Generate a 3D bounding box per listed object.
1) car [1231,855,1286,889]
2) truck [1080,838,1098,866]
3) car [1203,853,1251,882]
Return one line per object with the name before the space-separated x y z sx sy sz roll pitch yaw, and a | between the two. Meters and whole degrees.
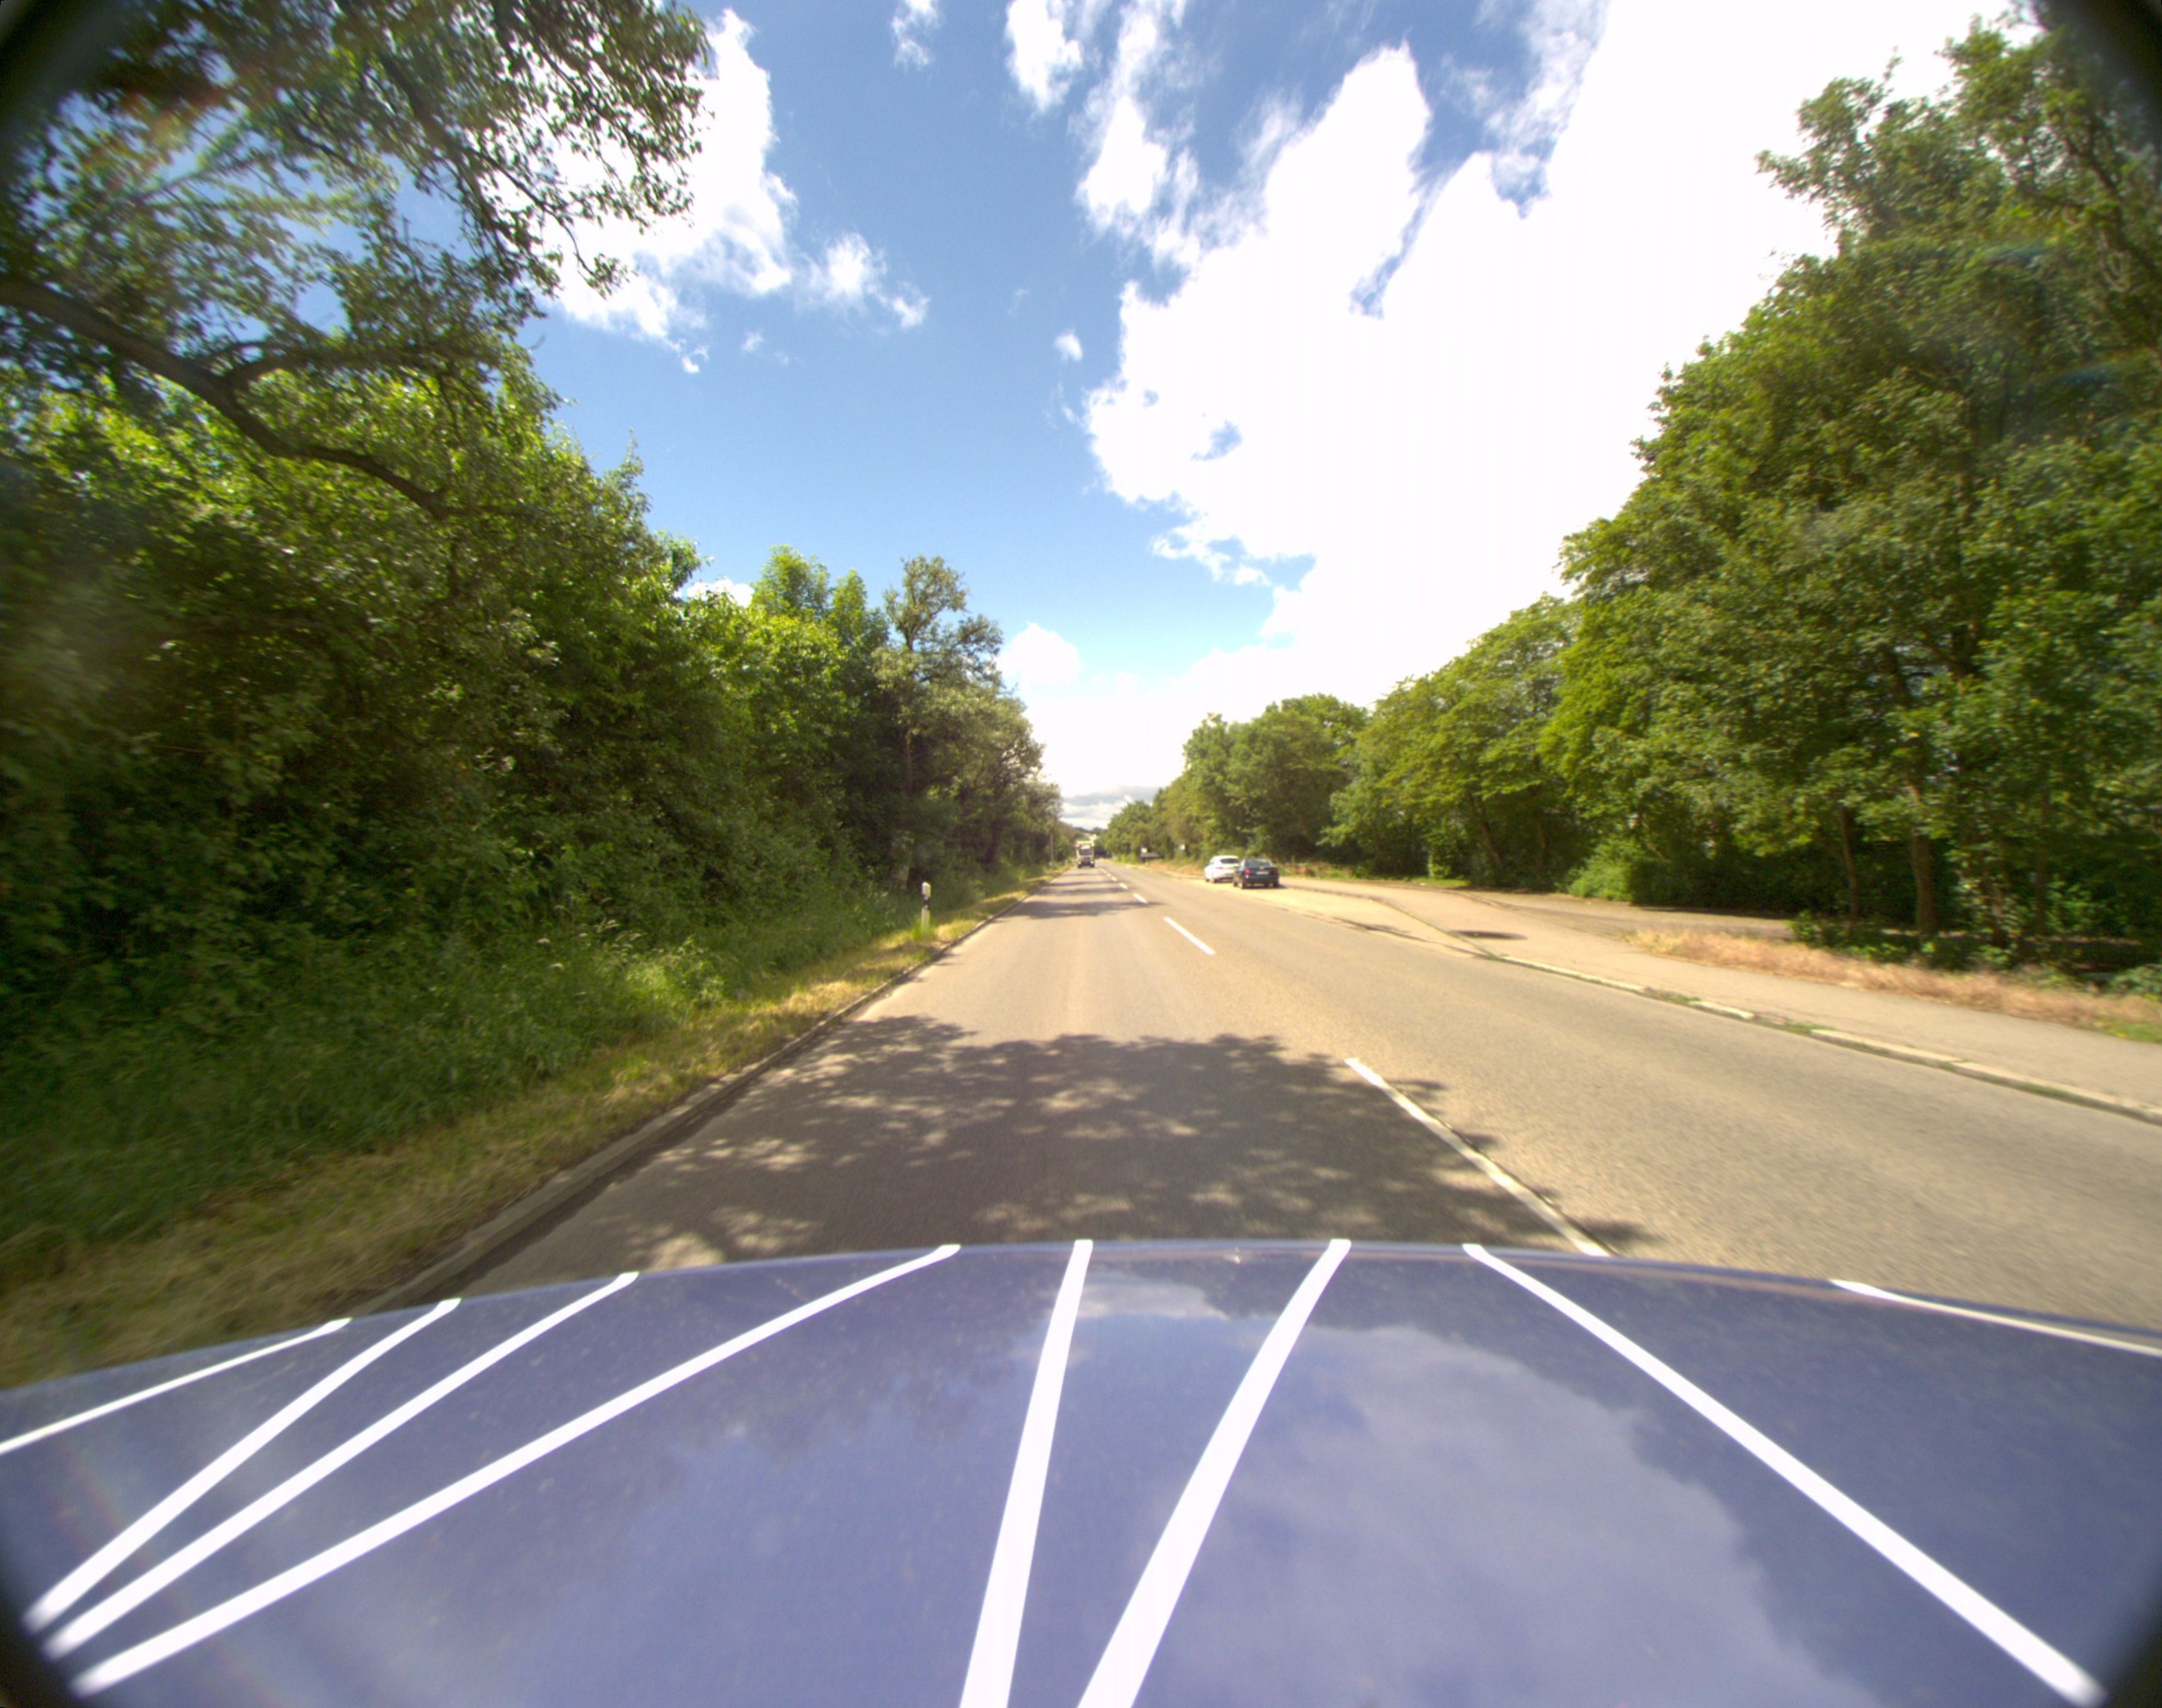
car | 8.242 0.795 35.627 1.772 1.399 4.266 -3 0 4
truck | 1.148 -0.282 109.326 2.306 3.790 8.182 -3 0 0
car | 8.184 0.745 42.879 1.772 1.461 4.245 -3 0 -1
